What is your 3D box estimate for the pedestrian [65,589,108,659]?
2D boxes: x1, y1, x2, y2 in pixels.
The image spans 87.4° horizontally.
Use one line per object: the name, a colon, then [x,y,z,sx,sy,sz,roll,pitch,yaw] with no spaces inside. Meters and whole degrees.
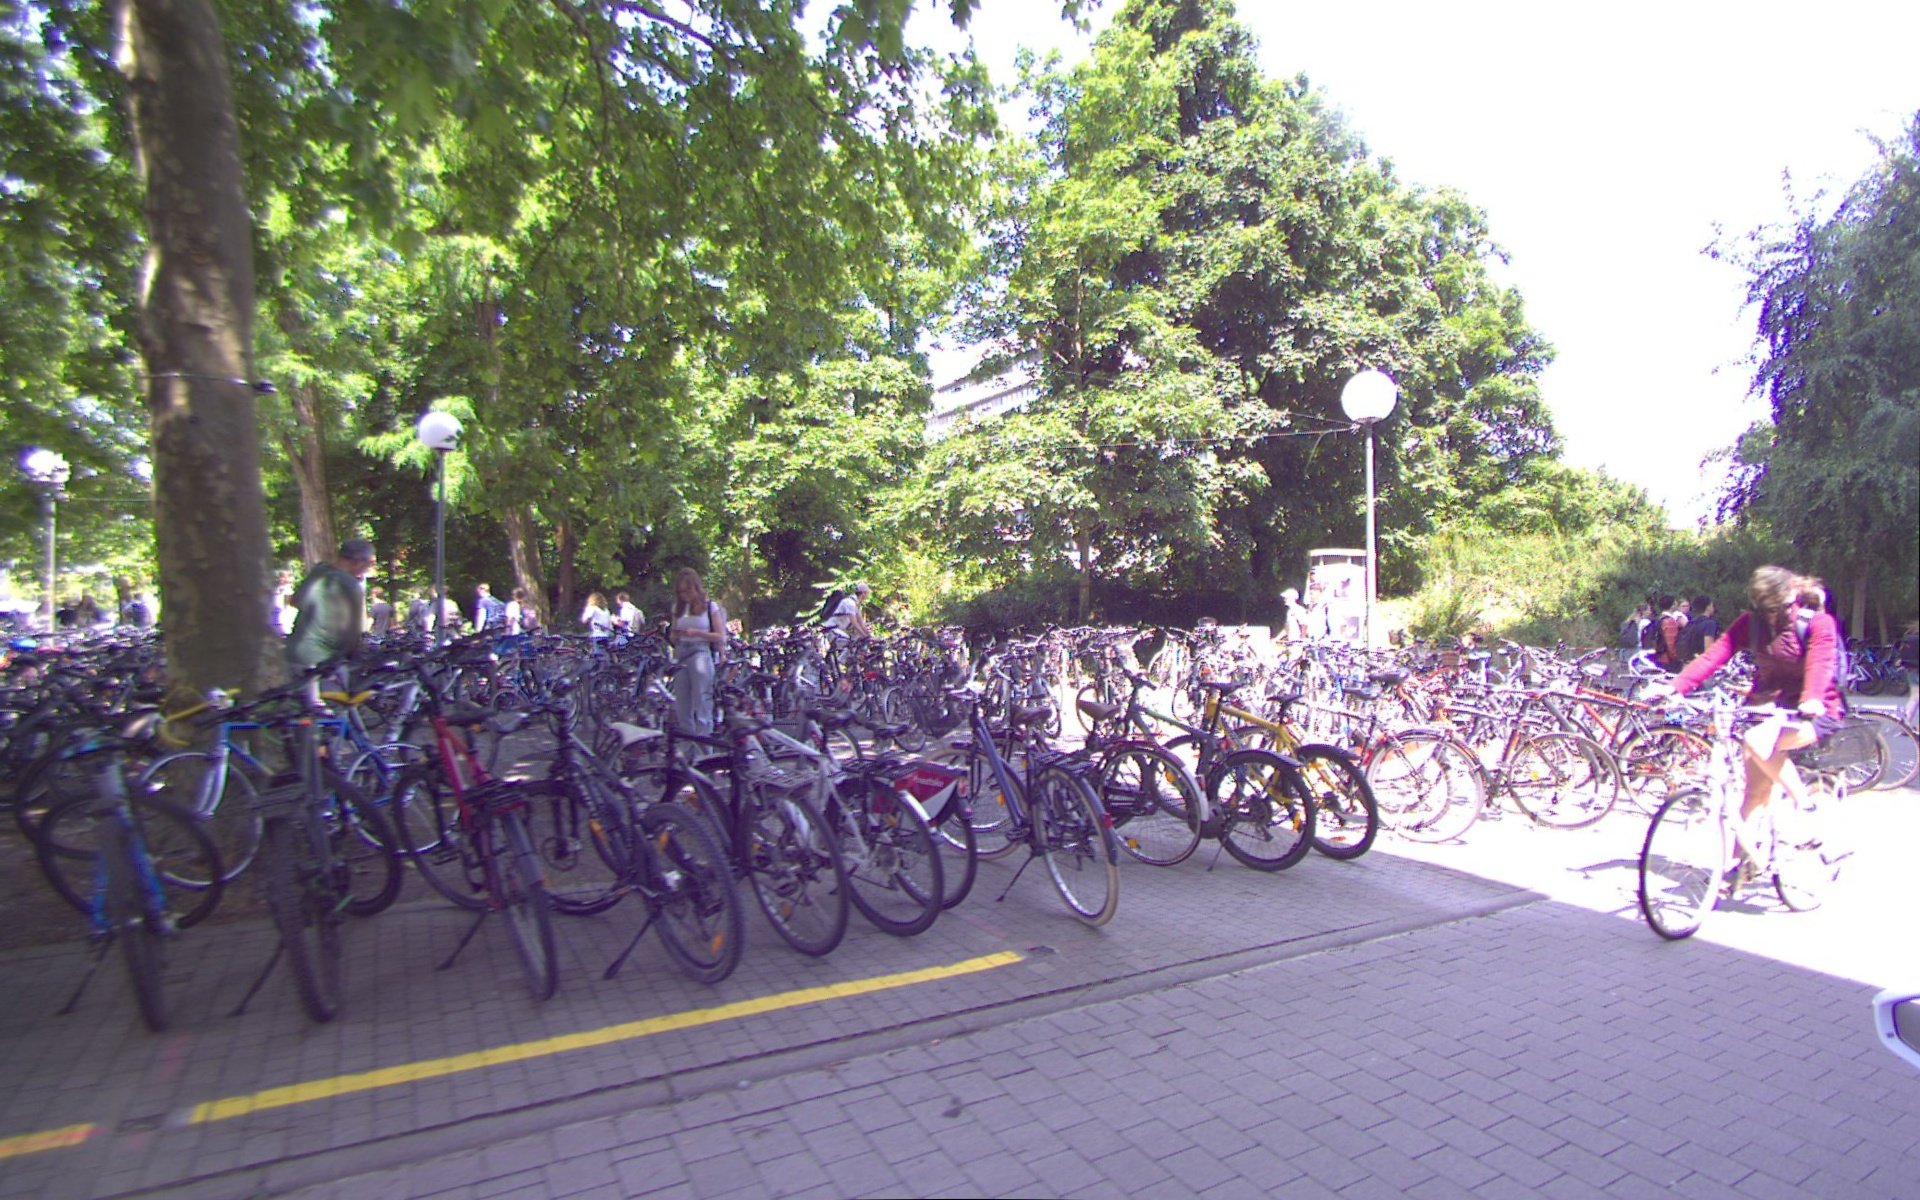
pedestrian: [-23.142,0.623,26.612,0.894,1.798,0.766,1,0,42]

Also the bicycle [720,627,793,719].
bicycle: [-2.672,0.927,13.347,0.464,1.098,1.700,1,0,5]

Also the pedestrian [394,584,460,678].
pedestrian: [-10.486,0.598,19.764,0.890,1.798,0.769,1,0,27]

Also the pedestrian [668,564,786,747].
pedestrian: [-2.333,0.524,10.054,0.900,1.725,0.761,1,0,-40]

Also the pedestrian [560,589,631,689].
pedestrian: [-6.426,0.666,17.729,0.890,1.702,0.769,1,0,27]

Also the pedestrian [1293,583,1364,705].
pedestrian: [5.733,0.672,15.661,0.864,1.839,0.835,1,0,9]

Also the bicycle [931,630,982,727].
bicycle: [-0.028,0.952,12.684,0.464,1.098,1.700,1,0,5]

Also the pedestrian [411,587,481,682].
pedestrian: [-9.558,0.625,18.675,0.890,1.702,0.769,1,0,27]

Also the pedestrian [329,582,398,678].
pedestrian: [-11.516,0.568,19.402,0.890,1.798,0.769,1,0,27]

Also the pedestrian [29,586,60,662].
pedestrian: [-22.055,0.576,24.203,0.498,1.795,0.663,1,0,-39]

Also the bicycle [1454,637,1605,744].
bicycle: [6.744,1.033,11.984,0.466,1.125,1.693,1,0,-17]

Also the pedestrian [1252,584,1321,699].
pedestrian: [5.358,0.663,16.537,0.964,1.828,0.770,1,0,11]

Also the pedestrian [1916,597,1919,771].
pedestrian: [9.545,0.818,9.300,0.756,1.702,0.906,1,0,27]

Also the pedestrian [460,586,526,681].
pedestrian: [-9.033,0.631,19.440,0.890,1.798,0.769,1,0,27]

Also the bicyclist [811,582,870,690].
bicyclist: [-1.800,0.537,15.178,0.707,1.589,0.596,1,0,12]

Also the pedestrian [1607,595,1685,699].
pedestrian: [11.768,0.796,17.262,0.918,1.747,0.678,0,0,15]

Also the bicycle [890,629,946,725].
bicycle: [-0.510,0.932,12.714,0.464,1.098,1.700,1,0,5]

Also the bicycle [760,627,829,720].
bicycle: [-2.162,0.933,13.272,0.464,1.098,1.700,1,0,5]

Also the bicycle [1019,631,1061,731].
bicycle: [0.993,0.953,12.394,0.464,1.098,1.700,1,0,5]

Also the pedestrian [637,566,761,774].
pedestrian: [-2.287,0.587,8.898,0.754,1.725,0.907,1,0,7]

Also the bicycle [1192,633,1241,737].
bicycle: [3.047,0.972,12.027,0.464,1.098,1.701,1,0,11]

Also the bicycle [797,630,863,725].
bicycle: [-1.651,0.961,12.982,0.464,1.098,1.700,1,0,5]

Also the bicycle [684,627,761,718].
bicycle: [-3.147,0.931,13.452,0.464,1.098,1.700,1,0,5]

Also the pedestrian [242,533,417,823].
pedestrian: [-4.283,0.493,6.842,0.756,1.831,0.709,1,0,27]

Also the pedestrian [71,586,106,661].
pedestrian: [-21.444,0.567,24.726,0.604,1.798,0.651,1,0,-40]

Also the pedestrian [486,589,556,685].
pedestrian: [-8.076,0.666,18.502,0.890,1.702,0.769,1,0,27]

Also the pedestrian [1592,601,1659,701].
pedestrian: [11.848,0.892,17.903,0.719,1.747,0.684,0,0,-14]

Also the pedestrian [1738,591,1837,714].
pedestrian: [12.911,0.810,15.693,1.029,1.860,0.614,1,0,1]

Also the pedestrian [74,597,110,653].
pedestrian: [-28.393,0.795,32.861,0.894,1.798,0.766,1,0,42]

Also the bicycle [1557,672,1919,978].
bicycle: [3.822,0.951,4.870,2.086,1.165,0.767,2,-2,-33]

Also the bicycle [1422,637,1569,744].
bicycle: [6.248,1.020,11.821,0.466,1.098,1.718,1,0,-15]

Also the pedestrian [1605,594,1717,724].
pedestrian: [9.666,0.794,13.888,1.043,1.747,0.719,0,0,3]

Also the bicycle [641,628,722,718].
bicycle: [-3.740,0.953,13.597,0.464,1.098,1.700,1,0,5]

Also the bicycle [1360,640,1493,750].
bicycle: [5.257,1.039,11.424,0.465,1.098,1.696,1,0,-10]

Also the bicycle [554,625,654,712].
bicycle: [-4.942,0.922,14.038,0.464,1.098,1.700,1,0,12]

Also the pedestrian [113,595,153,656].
pedestrian: [-25.128,0.767,30.523,0.761,1.798,0.900,1,0,-30]

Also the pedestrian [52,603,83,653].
pedestrian: [-33.925,1.055,38.179,0.894,1.826,0.766,1,0,42]

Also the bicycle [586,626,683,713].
bicycle: [-4.455,0.923,13.859,0.464,1.098,1.700,1,0,12]

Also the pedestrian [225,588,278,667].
pedestrian: [-16.497,0.633,23.386,0.892,1.798,0.767,1,0,37]

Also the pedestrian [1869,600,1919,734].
pedestrian: [12.756,0.881,13.433,0.723,1.747,0.680,1,1,-32]

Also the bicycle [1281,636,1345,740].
bicycle: [4.171,1.002,11.959,0.464,1.098,1.701,1,0,11]

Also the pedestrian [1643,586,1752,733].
pedestrian: [9.601,0.757,13.101,0.922,1.860,0.686,0,0,4]

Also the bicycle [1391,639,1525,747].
bicycle: [5.740,1.037,11.694,0.465,1.098,1.696,1,0,-10]

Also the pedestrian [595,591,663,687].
pedestrian: [-6.070,0.702,18.450,0.890,1.702,0.769,1,0,27]

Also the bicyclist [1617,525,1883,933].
bicyclist: [3.816,0.572,4.865,0.901,1.738,0.767,2,-2,-33]

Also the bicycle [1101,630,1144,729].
bicycle: [1.994,0.942,12.430,0.464,1.098,1.701,1,0,8]

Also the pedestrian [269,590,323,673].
pedestrian: [-14.878,0.692,22.511,0.893,1.798,0.767,1,0,38]

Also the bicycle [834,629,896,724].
bicycle: [-1.195,0.945,12.930,0.464,1.098,1.700,1,0,5]
